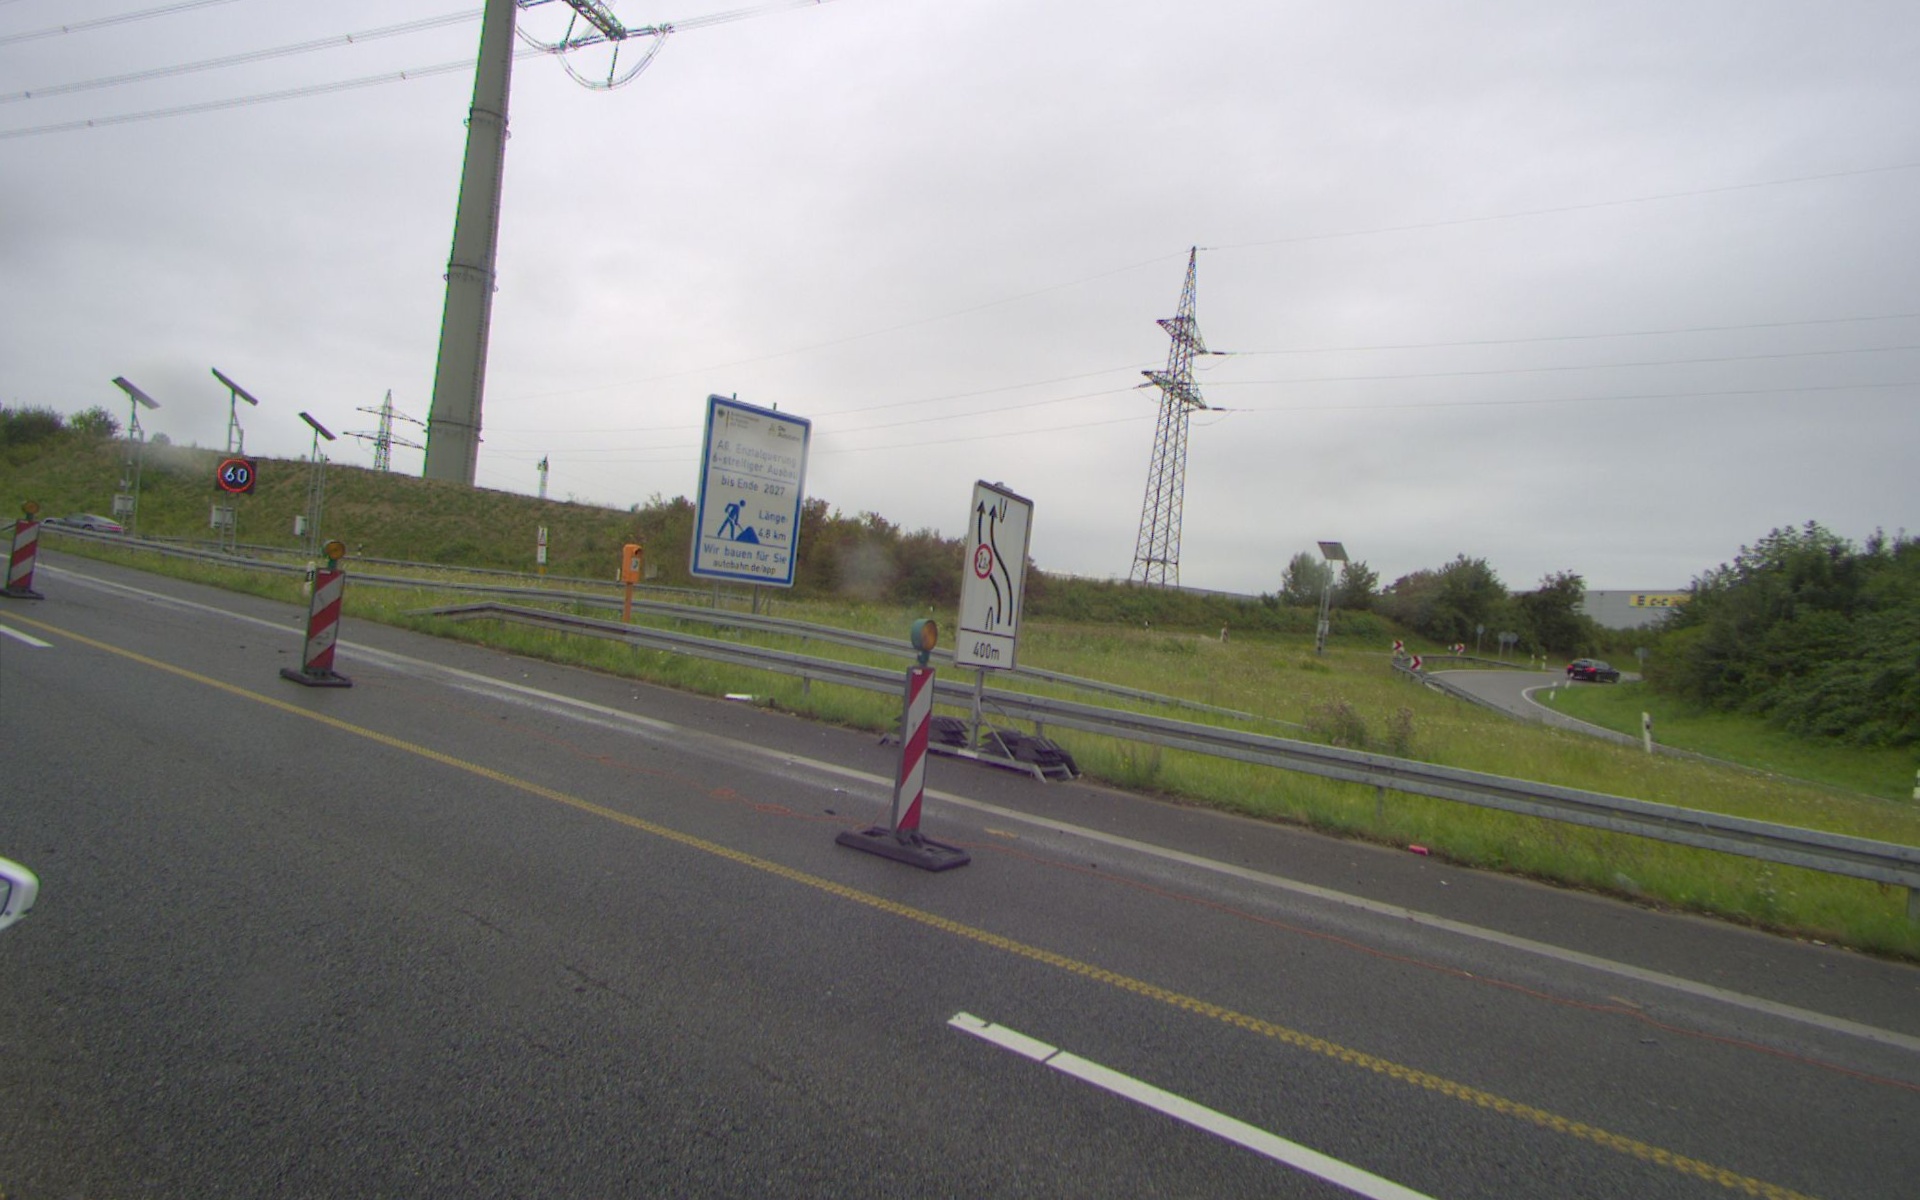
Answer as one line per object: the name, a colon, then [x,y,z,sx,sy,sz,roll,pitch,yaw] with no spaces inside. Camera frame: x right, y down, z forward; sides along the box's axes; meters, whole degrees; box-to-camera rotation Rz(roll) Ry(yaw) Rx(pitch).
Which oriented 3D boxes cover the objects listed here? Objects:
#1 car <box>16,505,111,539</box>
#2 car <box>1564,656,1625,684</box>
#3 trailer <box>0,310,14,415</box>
car: [-45.795,-3.983,51.414,3.832,1.175,1.488,7,1,9]
car: [44.706,4.962,70.852,4.551,1.466,1.981,7,0,-35]
trailer: [-17.413,-2.302,14.463,10.369,3.938,2.643,6,-2,32]
